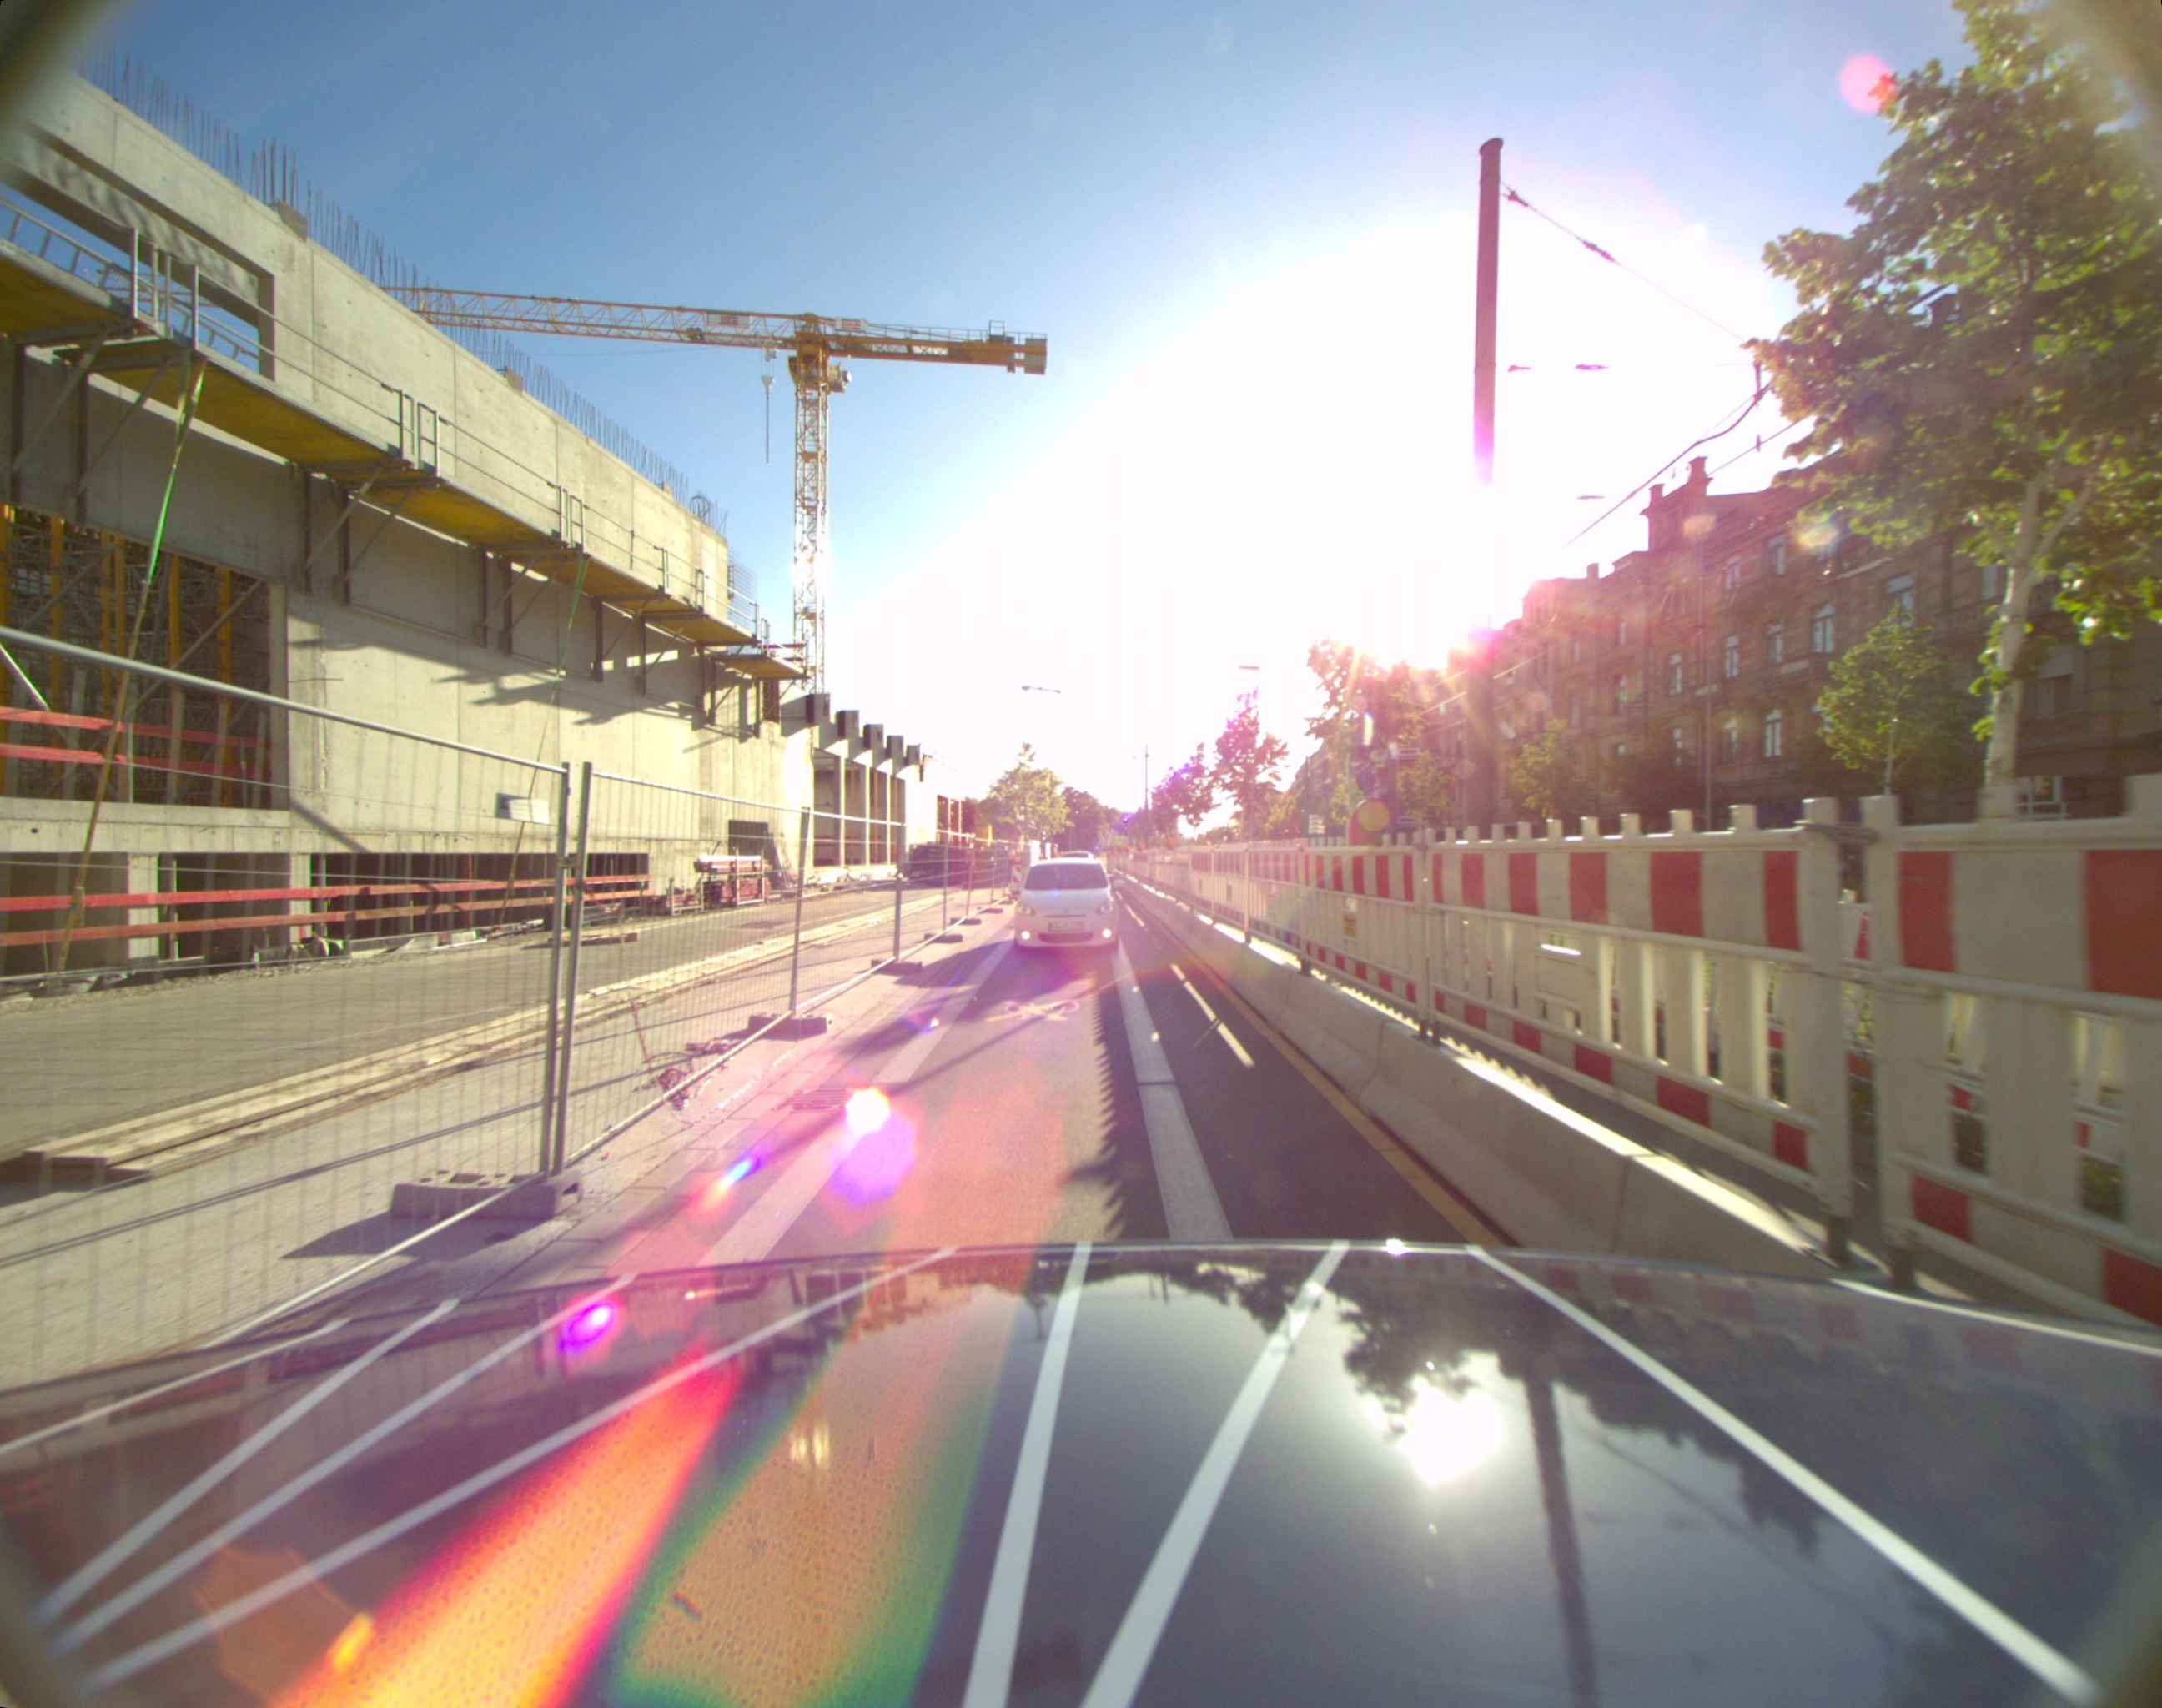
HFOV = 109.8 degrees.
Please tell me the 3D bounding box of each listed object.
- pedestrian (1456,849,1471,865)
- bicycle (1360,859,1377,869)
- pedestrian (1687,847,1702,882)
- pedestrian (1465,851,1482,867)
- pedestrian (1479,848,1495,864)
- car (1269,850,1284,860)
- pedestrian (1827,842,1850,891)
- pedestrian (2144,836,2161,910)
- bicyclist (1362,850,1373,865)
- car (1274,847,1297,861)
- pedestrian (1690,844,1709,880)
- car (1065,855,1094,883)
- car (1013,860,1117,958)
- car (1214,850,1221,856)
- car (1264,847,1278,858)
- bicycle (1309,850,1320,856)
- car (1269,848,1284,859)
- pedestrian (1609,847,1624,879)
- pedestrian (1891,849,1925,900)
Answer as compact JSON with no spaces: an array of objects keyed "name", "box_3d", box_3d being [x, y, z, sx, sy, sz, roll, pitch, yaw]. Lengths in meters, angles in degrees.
[{"name":"pedestrian","box_3d":[29.584,0.213,58.784,0.692,1.239,0.929,0,1,2]},{"name":"bicycle","box_3d":[23.588,0.811,62.339,0.639,0.853,2.031,0,0,2]},{"name":"pedestrian","box_3d":[27.632,0.466,34.211,0.368,1.575,0.405,-3,1,-38]},{"name":"pedestrian","box_3d":[29.353,0.359,56.772,0.793,1.201,0.929,0,1,2]},{"name":"pedestrian","box_3d":[29.759,0.147,55.700,0.692,1.201,0.929,0,1,2]},{"name":"car","box_3d":[27.819,0.150,108.351,1.627,1.433,3.821,-1,0,9]},{"name":"pedestrian","box_3d":[27.296,0.449,27.381,0.367,1.754,0.406,-2,1,1]},{"name":"pedestrian","box_3d":[25.843,0.441,18.113,0.509,1.754,0.406,-2,1,-13]},{"name":"bicyclist","box_3d":[23.581,0.311,62.565,0.639,1.232,0.738,0,1,2]},{"name":"car","box_3d":[21.439,-0.015,79.687,1.598,1.474,3.623,0,0,2]},{"name":"pedestrian","box_3d":[28.012,0.358,34.398,0.484,1.575,0.481,-3,1,-26]},{"name":"car","box_3d":[-0.057,0.768,40.554,1.458,1.472,3.527,0,0,1]},{"name":"car","box_3d":[-0.232,0.900,13.871,1.614,1.488,3.394,-2,0,1]},{"name":"car","box_3d":[43.247,-0.362,240.752,1.731,1.736,4.123,0,0,7]},{"name":"car","box_3d":[29.626,-0.232,118.517,1.754,1.761,4.334,-1,0,9]},{"name":"bicycle","box_3d":[39.942,-0.225,129.996,1.877,1.066,0.425,1,1,13]},{"name":"car","box_3d":[29.053,-0.083,113.136,1.741,1.527,3.887,-1,0,9]},{"name":"pedestrian","box_3d":[26.611,0.463,37.782,0.404,1.575,0.425,-2,1,1]},{"name":"pedestrian","box_3d":[26.446,0.645,24.304,0.488,1.575,0.533,-2,1,1]}]
